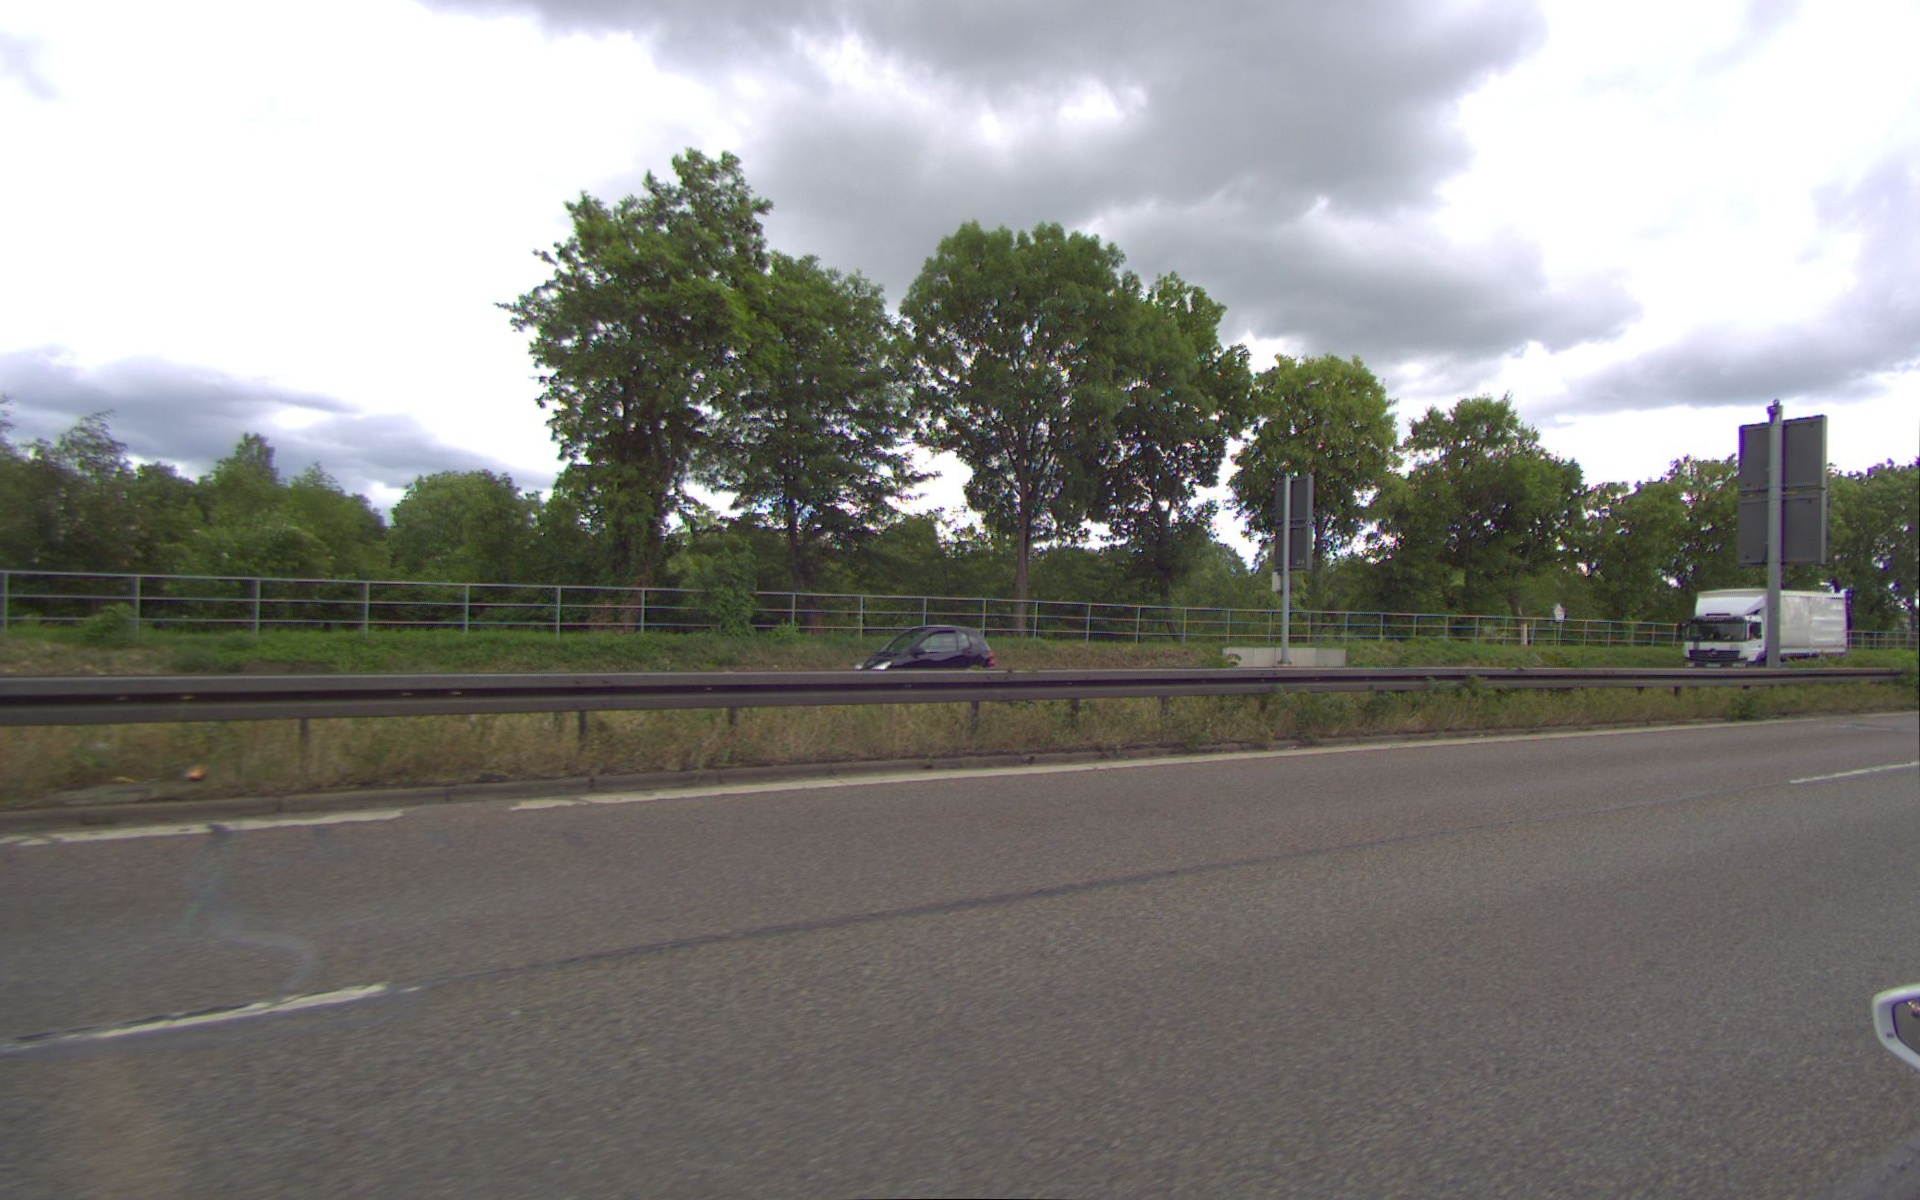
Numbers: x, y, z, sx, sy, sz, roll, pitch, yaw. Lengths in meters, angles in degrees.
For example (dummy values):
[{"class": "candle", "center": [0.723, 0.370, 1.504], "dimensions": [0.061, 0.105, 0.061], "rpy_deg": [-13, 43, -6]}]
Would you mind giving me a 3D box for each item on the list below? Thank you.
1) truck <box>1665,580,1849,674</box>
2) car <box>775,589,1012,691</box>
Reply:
[{"class": "truck", "center": [33.691, 1.215, 42.325], "dimensions": [9.475, 3.626, 2.875], "rpy_deg": [2, -2, -31]}, {"class": "car", "center": [-1.240, 0.724, 19.051], "dimensions": [4.094, 1.748, 1.871], "rpy_deg": [1, -1, -28]}]
